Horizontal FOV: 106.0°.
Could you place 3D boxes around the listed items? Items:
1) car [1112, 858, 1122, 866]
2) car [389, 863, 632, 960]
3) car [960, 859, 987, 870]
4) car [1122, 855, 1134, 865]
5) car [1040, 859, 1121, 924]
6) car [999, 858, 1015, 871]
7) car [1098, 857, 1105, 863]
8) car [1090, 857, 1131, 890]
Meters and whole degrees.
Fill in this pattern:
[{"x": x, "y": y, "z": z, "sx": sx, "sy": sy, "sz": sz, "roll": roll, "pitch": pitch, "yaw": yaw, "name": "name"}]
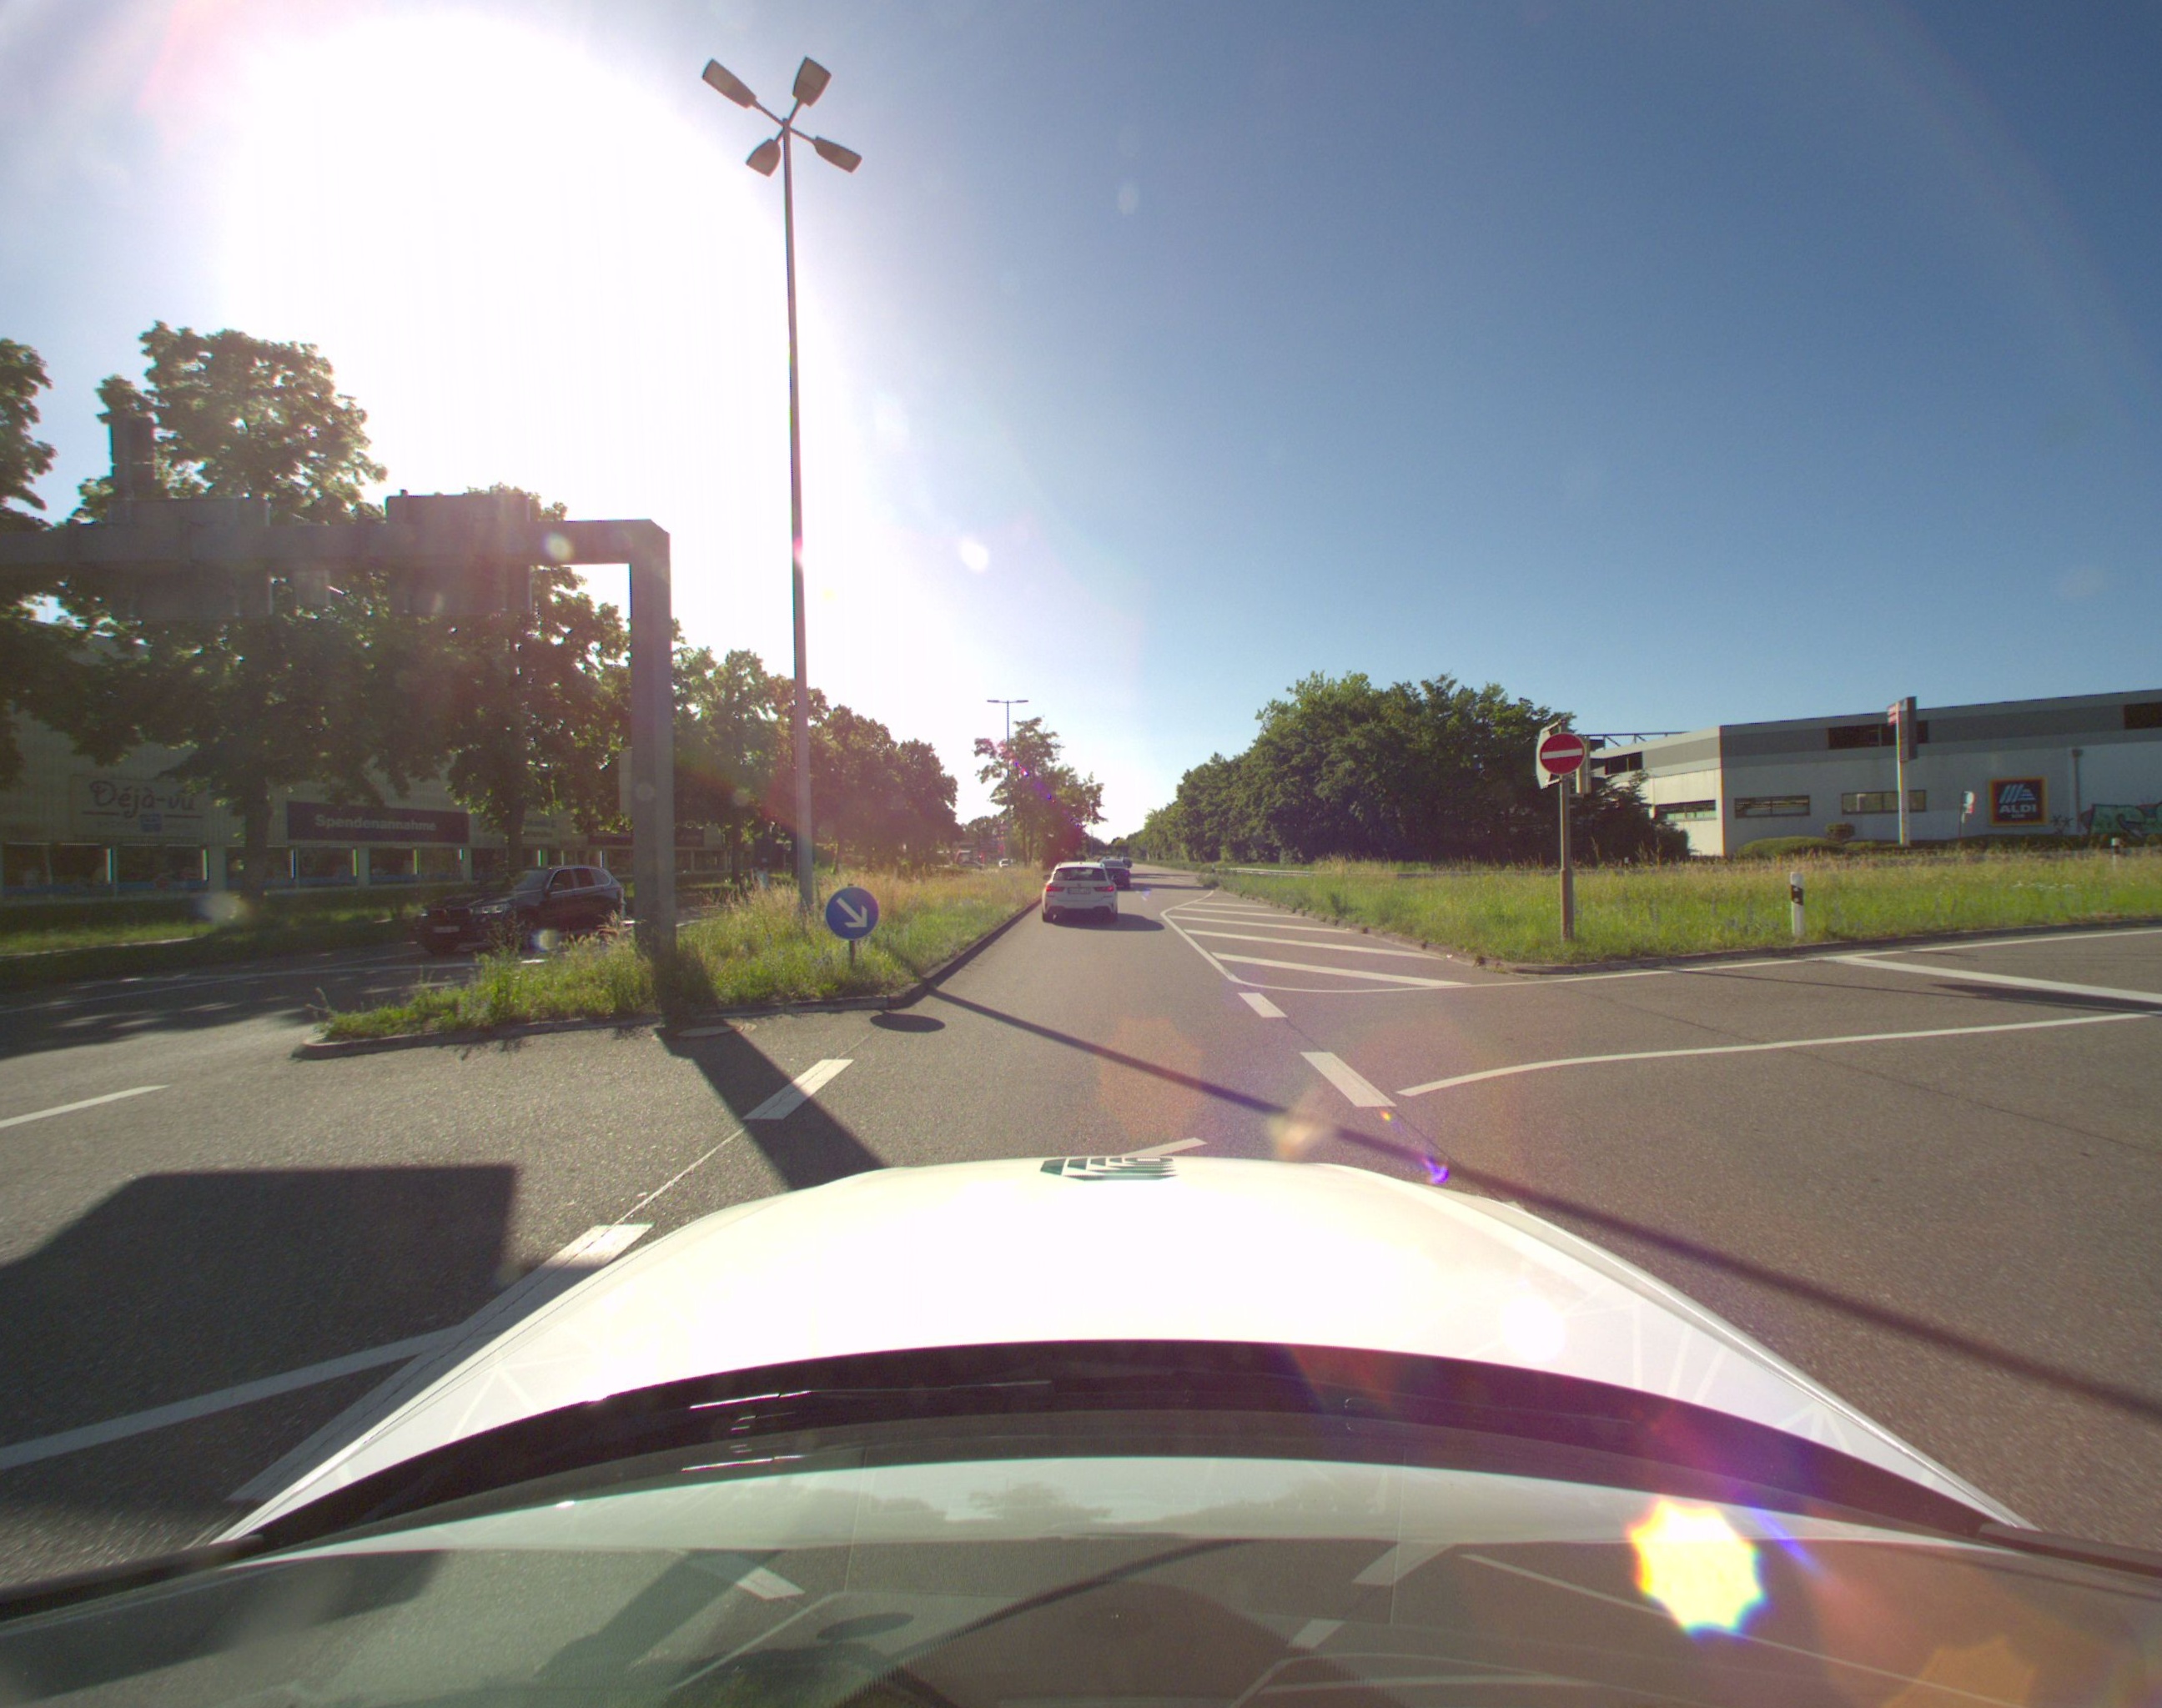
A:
[{"x": 7.119, "y": 1.524, "z": 162.611, "sx": 1.766, "sy": 1.555, "sz": 3.832, "roll": -2, "pitch": 0, "yaw": 0, "name": "car"}, {"x": -12.246, "y": 1.128, "z": 17.974, "sx": 1.935, "sy": 1.697, "sz": 4.630, "roll": -3, "pitch": 0, "yaw": 1, "name": "car"}, {"x": -17.452, "y": 1.737, "z": 132.570, "sx": 4.092, "sy": 1.662, "sz": 1.894, "roll": -2, "pitch": 0, "yaw": 3, "name": "car"}, {"x": 7.641, "y": 0.982, "z": 132.210, "sx": 1.855, "sy": 1.499, "sz": 4.337, "roll": -1, "pitch": 0, "yaw": 1, "name": "car"}, {"x": 0.053, "y": 0.878, "z": 20.984, "sx": 1.855, "sy": 1.455, "sz": 4.549, "roll": 0, "pitch": 0, "yaw": 2, "name": "car"}, {"x": -10.084, "y": 1.434, "z": 111.113, "sx": 1.701, "sy": 1.746, "sz": 4.165, "roll": -1, "pitch": 0, "yaw": 0, "name": "car"}, {"x": 5.587, "y": 1.550, "z": 224.441, "sx": 1.855, "sy": 1.565, "sz": 4.548, "roll": -1, "pitch": 0, "yaw": 1, "name": "car"}, {"x": 1.406, "y": 0.912, "z": 40.236, "sx": 1.855, "sy": 1.455, "sz": 4.548, "roll": -2, "pitch": 0, "yaw": 1, "name": "car"}]
